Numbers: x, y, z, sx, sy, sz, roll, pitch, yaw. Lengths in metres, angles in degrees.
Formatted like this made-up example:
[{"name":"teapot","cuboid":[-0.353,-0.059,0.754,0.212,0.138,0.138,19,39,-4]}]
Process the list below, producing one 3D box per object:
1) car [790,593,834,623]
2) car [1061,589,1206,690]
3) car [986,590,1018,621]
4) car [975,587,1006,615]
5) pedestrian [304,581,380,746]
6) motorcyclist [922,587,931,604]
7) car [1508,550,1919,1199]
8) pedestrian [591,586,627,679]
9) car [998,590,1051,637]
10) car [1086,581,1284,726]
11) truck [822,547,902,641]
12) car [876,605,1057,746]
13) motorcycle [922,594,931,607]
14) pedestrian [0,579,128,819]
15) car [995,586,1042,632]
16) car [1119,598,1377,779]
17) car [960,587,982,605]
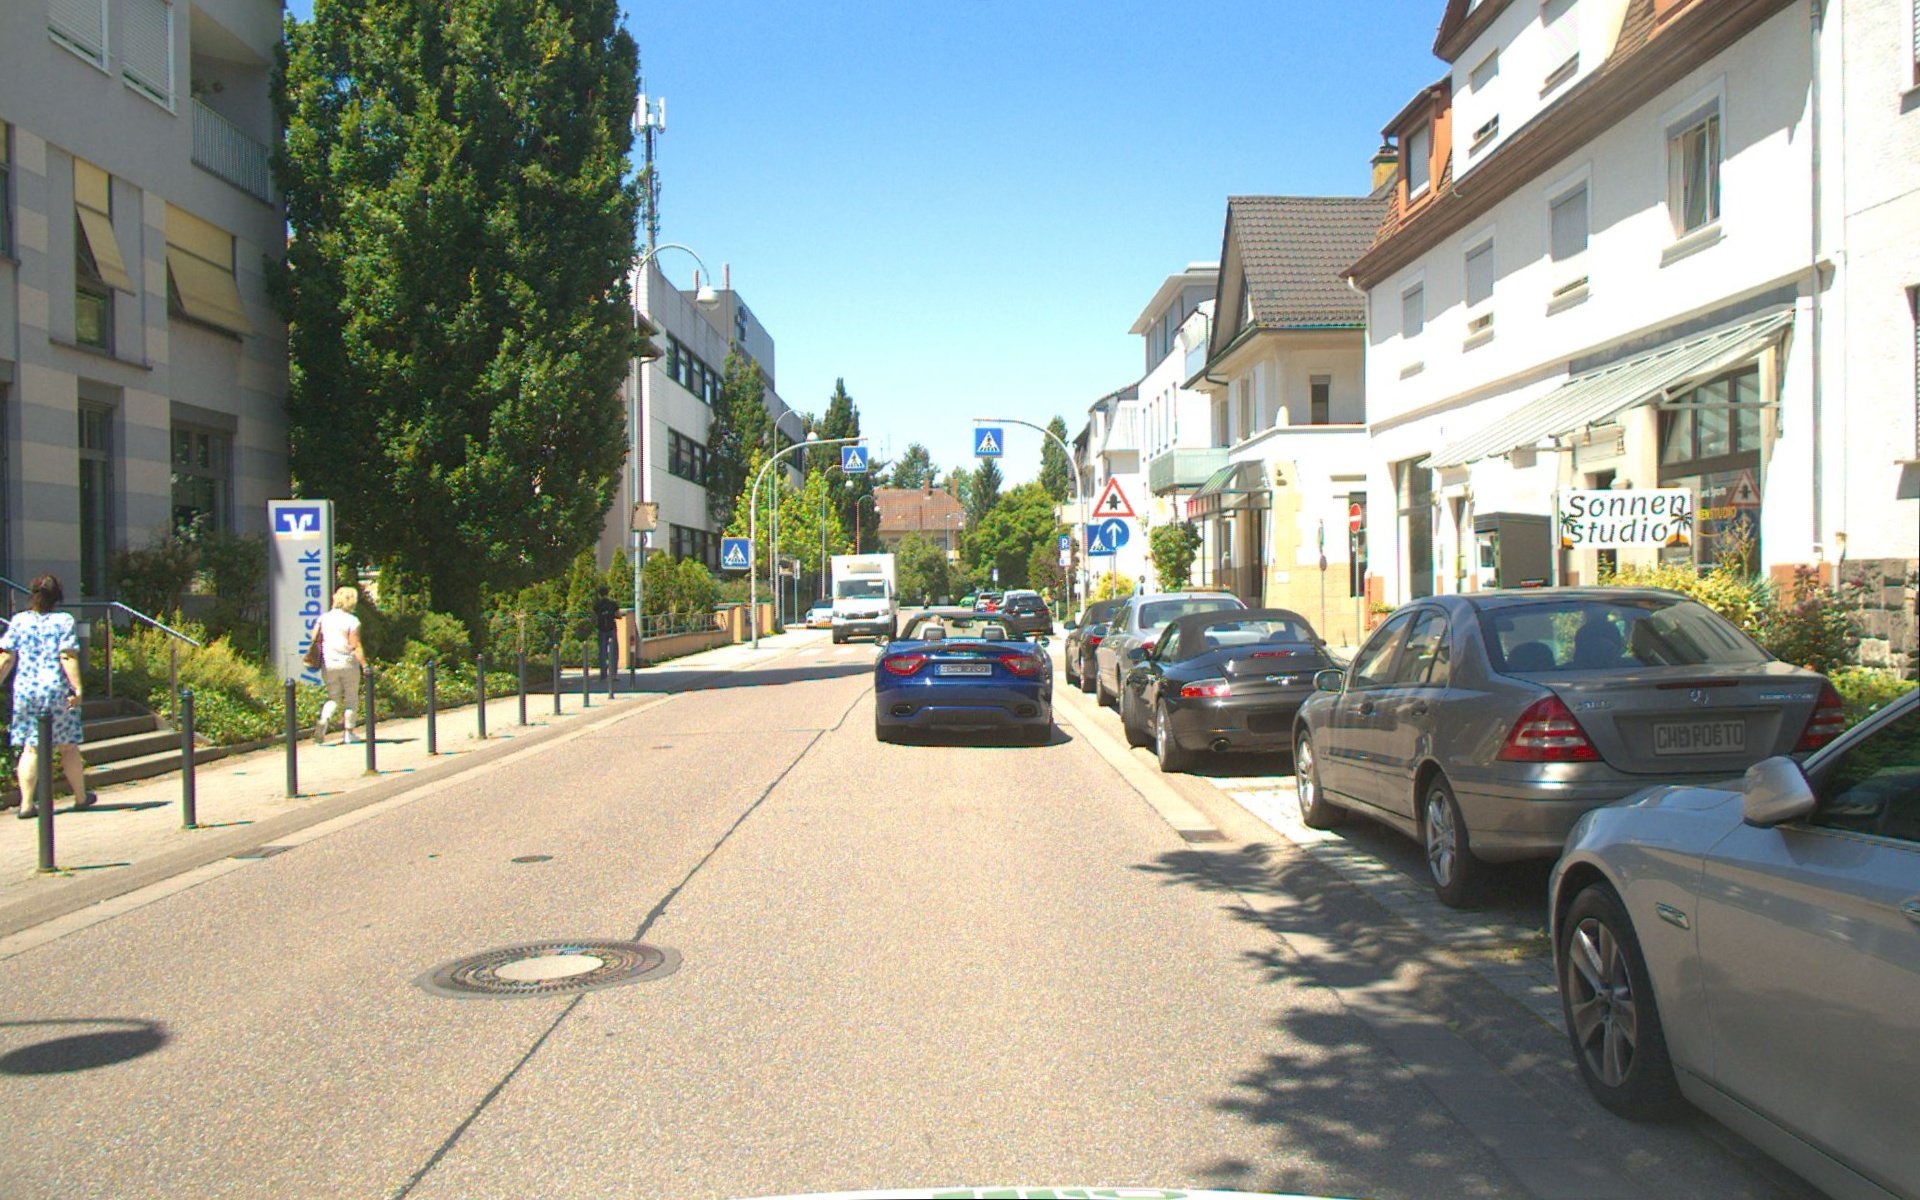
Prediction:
[{"name":"car","cuboid":[-7.167,0.372,80.512,1.785,1.436,4.577,0,0,0]},{"name":"car","cuboid":[2.738,0.581,27.065,1.789,1.451,4.699,-2,0,-1]},{"name":"car","cuboid":[2.194,0.278,87.954,1.571,1.465,3.853,-4,0,1]},{"name":"car","cuboid":[1.913,0.018,104.822,1.806,1.647,4.427,-3,0,0]},{"name":"pedestrian","cuboid":[-6.576,0.666,17.620,0.525,1.714,0.708,-1,0,-1]},{"name":"motorcyclist","cuboid":[-3.042,-0.418,149.428,0.684,1.458,0.707,-2,0,0]},{"name":"car","cuboid":[2.776,0.636,3.122,1.792,1.537,4.759,-2,0,-1]},{"name":"pedestrian","cuboid":[-6.578,0.603,31.018,0.525,1.714,0.708,-1,0,-1]},{"name":"car","cuboid":[2.301,0.458,60.206,1.670,1.583,4.748,-3,0,0]},{"name":"car","cuboid":[2.671,0.588,20.726,1.708,1.494,4.851,-3,0,-1]},{"name":"truck","cuboid":[-3.321,-0.226,57.498,2.370,3.035,6.257,-1,0,0]},{"name":"car","cuboid":[0.047,0.753,18.658,1.789,1.360,4.699,0,0,-1]},{"name":"motorcycle","cuboid":[-3.037,0.018,149.528,0.684,1.126,1.790,-2,0,0]},{"name":"pedestrian","cuboid":[-6.659,0.696,12.056,0.733,1.673,0.848,-1,0,-1]},{"name":"car","cuboid":[2.295,0.328,66.053,1.670,1.695,4.580,-2,0,0]},{"name":"car","cuboid":[2.474,0.692,15.123,1.526,1.364,4.172,-2,0,-1]},{"name":"car","cuboid":[1.095,-0.365,161.442,1.784,1.616,4.102,-3,-1,3]}]
